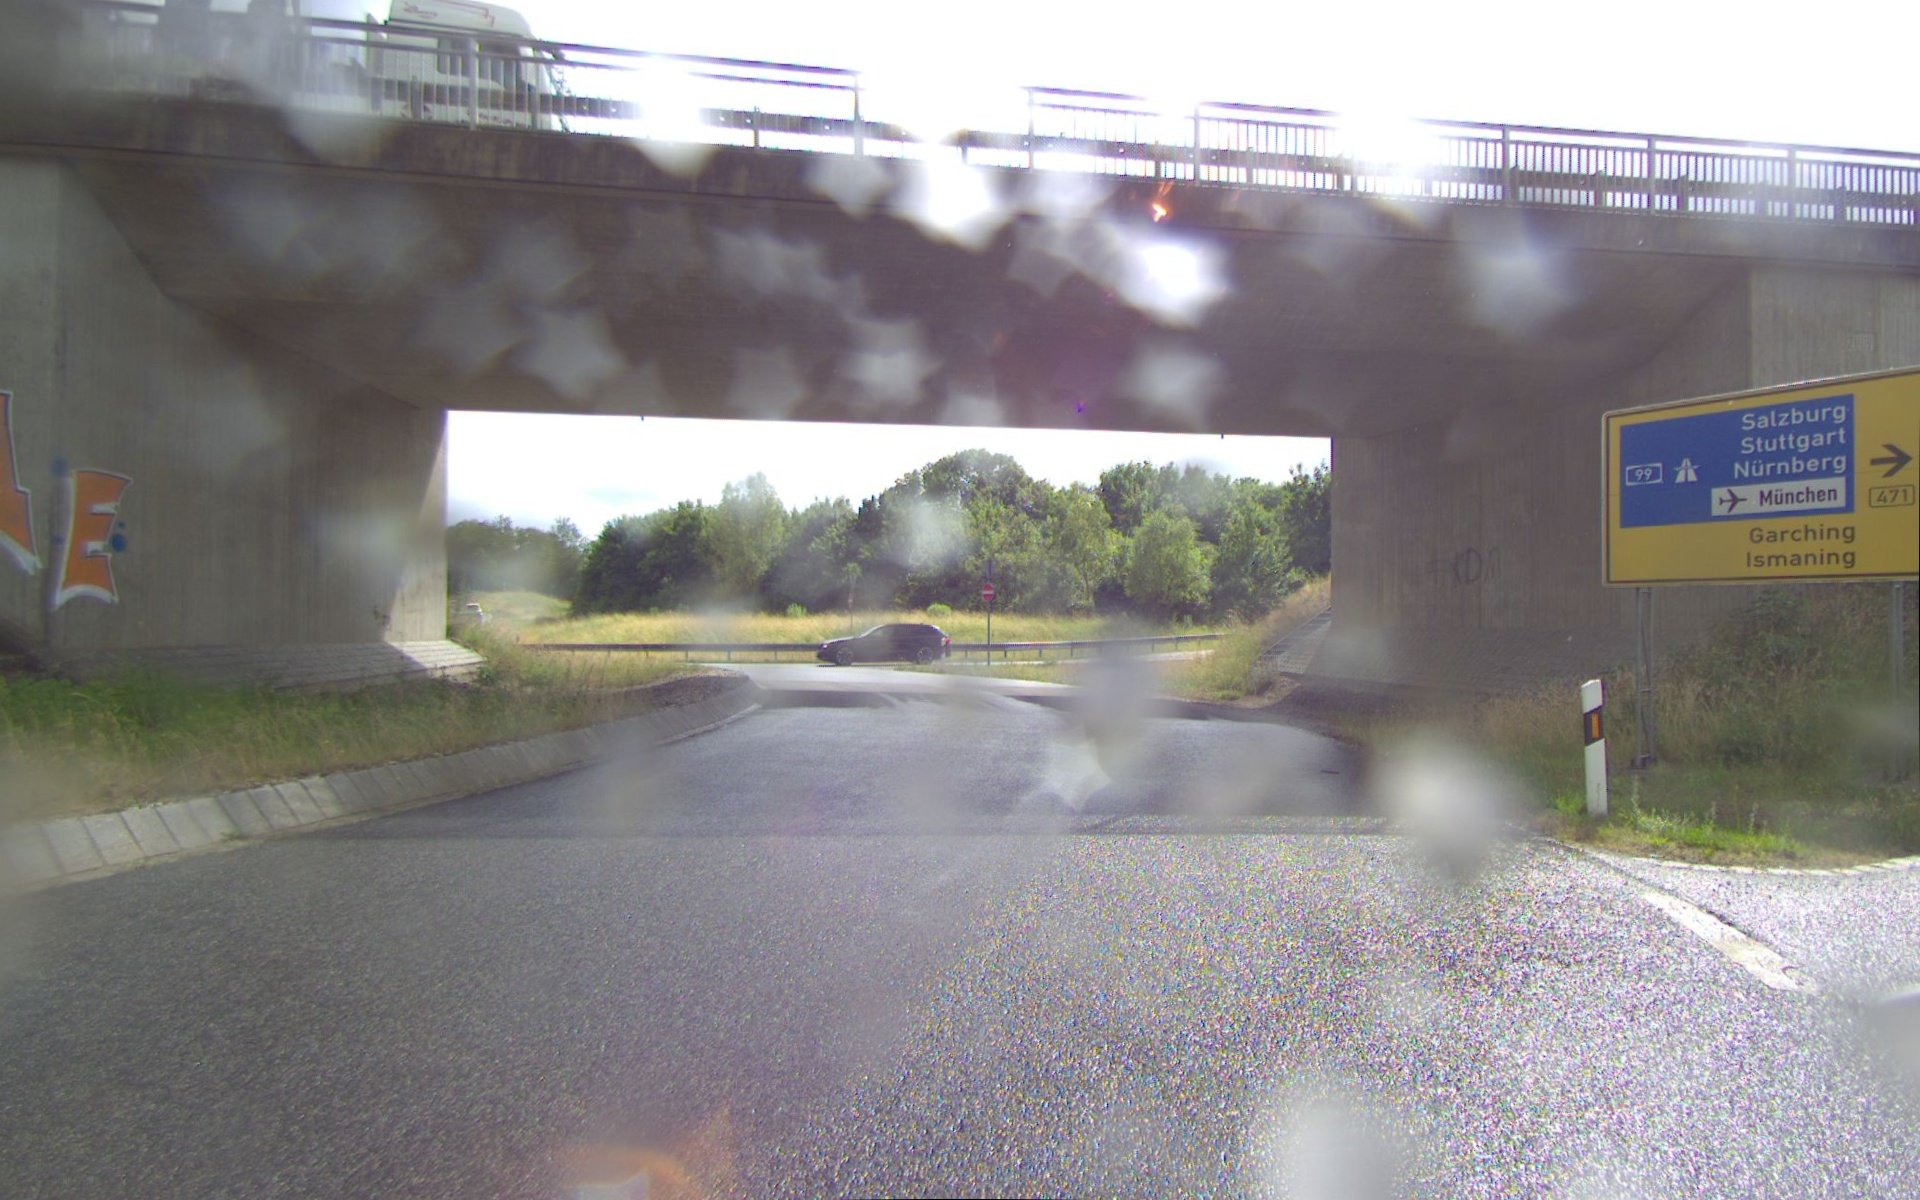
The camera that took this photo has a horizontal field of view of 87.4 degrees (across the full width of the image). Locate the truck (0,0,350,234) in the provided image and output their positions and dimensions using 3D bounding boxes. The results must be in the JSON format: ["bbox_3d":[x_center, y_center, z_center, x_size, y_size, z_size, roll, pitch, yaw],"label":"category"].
[{"bbox_3d":[-14.444,-7.240,13.333,10.638,2.912,2.201,1,0,-13],"label":"truck"}]
